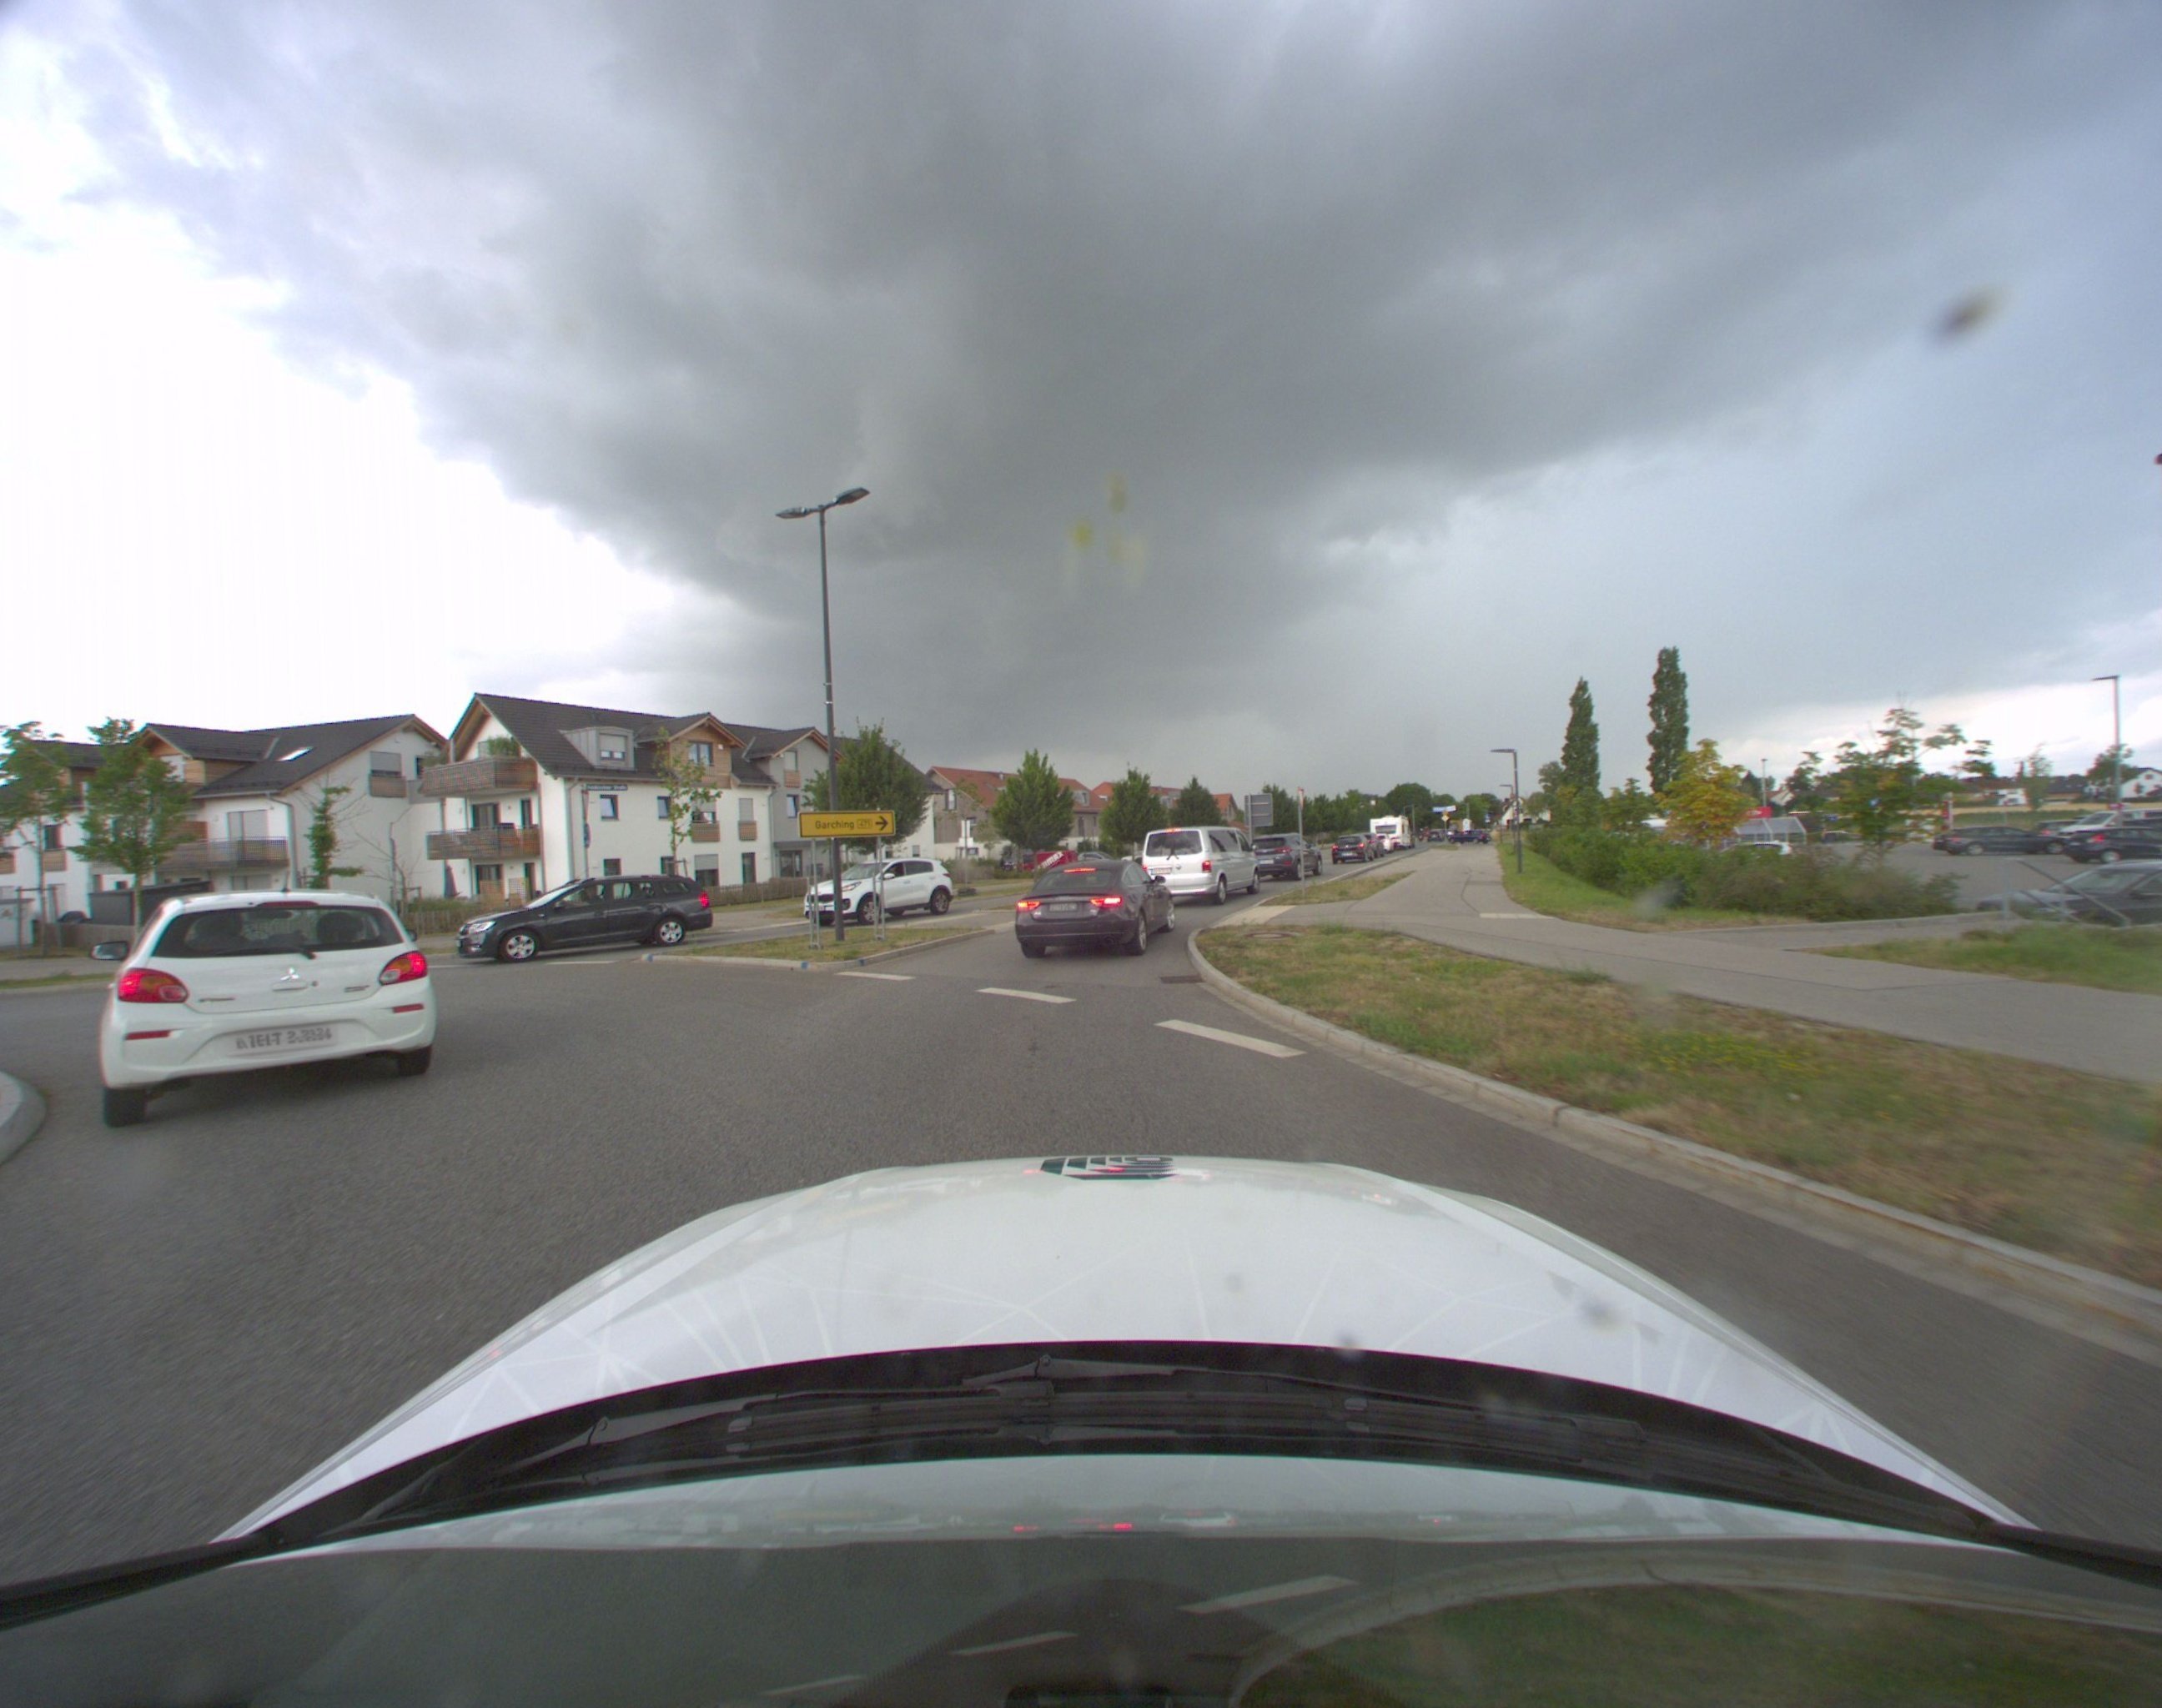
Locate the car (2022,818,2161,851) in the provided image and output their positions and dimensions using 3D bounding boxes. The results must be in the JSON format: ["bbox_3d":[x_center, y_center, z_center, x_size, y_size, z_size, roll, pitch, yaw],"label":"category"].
[{"bbox_3d":[53.758,-1.016,43.435,4.271,1.578,1.778,-2,0,29],"label":"car"}]

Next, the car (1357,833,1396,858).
[{"bbox_3d":[20.511,-0.579,56.429,1.975,1.596,4.025,-2,0,28],"label":"car"}]

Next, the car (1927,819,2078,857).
[{"bbox_3d":[45.652,-0.780,40.505,4.514,1.664,2.012,-2,1,27],"label":"car"}]

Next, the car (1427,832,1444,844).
[{"bbox_3d":[45.850,-2.080,105.195,1.828,1.436,4.024,-1,1,26],"label":"car"}]

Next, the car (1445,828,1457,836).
[{"bbox_3d":[66.433,-3.993,146.240,1.828,1.436,4.024,-1,1,26],"label":"car"}]

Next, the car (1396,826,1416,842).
[{"bbox_3d":[42.422,-2.593,106.331,1.975,2.013,4.025,-1,1,28],"label":"car"}]

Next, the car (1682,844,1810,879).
[{"bbox_3d":[30.354,0.361,37.326,4.193,1.440,2.012,-2,0,27],"label":"car"}]

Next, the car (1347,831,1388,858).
[{"bbox_3d":[16.860,-0.550,47.837,1.760,1.434,3.825,-3,0,26],"label":"car"}]

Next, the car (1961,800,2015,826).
[{"bbox_3d":[74.073,-3.305,66.598,1.974,2.013,4.026,1,2,33],"label":"car"}]

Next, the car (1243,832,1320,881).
[{"bbox_3d":[7.270,0.063,29.278,1.760,1.618,4.024,-2,0,27],"label":"car"}]

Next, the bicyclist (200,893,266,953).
[{"bbox_3d":[-22.204,1.786,21.338,0.865,1.446,0.723,-3,0,-7],"label":"bicyclist"}]

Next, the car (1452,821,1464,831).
[{"bbox_3d":[88.908,-6.525,191.898,1.974,2.211,4.026,-2,1,31],"label":"car"}]

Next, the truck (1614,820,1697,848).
[{"bbox_3d":[42.990,-1.487,61.035,4.754,1.872,2.011,-1,0,23],"label":"truck"}]

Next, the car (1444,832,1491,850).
[{"bbox_3d":[39.591,-1.325,83.458,1.627,1.794,3.952,-2,0,-41],"label":"car"}]

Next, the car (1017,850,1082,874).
[{"bbox_3d":[-2.393,0.582,61.809,4.487,1.680,2.013,-2,0,30],"label":"car"}]

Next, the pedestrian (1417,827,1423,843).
[{"bbox_3d":[42.269,-2.417,101.477,0.573,2.013,0.685,1,2,33],"label":"pedestrian"}]

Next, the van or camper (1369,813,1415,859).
[{"bbox_3d":[24.679,-1.384,64.420,2.600,3.323,6.862,-2,0,27],"label":"van or camper"}]

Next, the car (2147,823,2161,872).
[{"bbox_3d":[39.207,-0.241,26.950,4.409,1.706,1.814,-1,1,27],"label":"car"}]

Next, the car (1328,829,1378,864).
[{"bbox_3d":[13.887,-0.394,41.413,1.760,1.618,4.024,-3,0,27],"label":"car"}]

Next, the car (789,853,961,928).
[{"bbox_3d":[-5.346,0.899,21.777,1.692,1.626,4.479,-3,0,31],"label":"car"}]

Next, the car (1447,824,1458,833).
[{"bbox_3d":[76.127,-5.284,167.057,1.975,1.837,4.024,-1,1,25],"label":"car"}]

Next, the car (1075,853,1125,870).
[{"bbox_3d":[1.621,0.630,69.437,3.879,1.315,1.853,-2,0,25],"label":"car"}]

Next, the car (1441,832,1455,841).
[{"bbox_3d":[57.632,-2.718,127.908,1.828,1.436,4.024,-1,1,26],"label":"car"}]

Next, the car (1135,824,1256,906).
[{"bbox_3d":[3.093,0.251,21.260,1.850,1.934,4.024,-2,0,27],"label":"car"}]

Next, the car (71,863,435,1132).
[{"bbox_3d":[-6.378,0.919,6.580,1.642,1.519,3.359,-2,-2,-41],"label":"car"}]

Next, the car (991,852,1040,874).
[{"bbox_3d":[-5.723,0.744,71.875,1.974,1.772,4.494,-2,0,32],"label":"car"}]

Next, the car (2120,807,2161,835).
[{"bbox_3d":[72.943,-2.211,54.366,3.949,1.837,2.013,1,2,31],"label":"car"}]

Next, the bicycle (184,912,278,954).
[{"bbox_3d":[-22.208,2.060,21.305,1.707,0.946,0.496,-3,0,-9],"label":"bicycle"}]

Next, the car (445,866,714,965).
[{"bbox_3d":[-10.046,1.154,16.577,1.751,1.564,4.305,-4,-1,43],"label":"car"}]

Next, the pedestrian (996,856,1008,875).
[{"bbox_3d":[-6.521,0.957,67.111,0.651,1.558,0.587,-2,1,29],"label":"pedestrian"}]

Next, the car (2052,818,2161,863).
[{"bbox_3d":[42.276,-0.555,32.306,4.362,1.664,2.012,-2,1,27],"label":"car"}]

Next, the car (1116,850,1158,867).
[{"bbox_3d":[5.377,0.398,78.180,3.696,1.482,1.696,-2,1,24],"label":"car"}]

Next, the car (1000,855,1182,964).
[{"bbox_3d":[0.347,0.761,13.041,1.770,1.391,4.151,-2,0,17],"label":"car"}]

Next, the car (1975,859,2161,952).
[{"bbox_3d":[19.905,0.925,15.200,3.955,1.607,1.799,-1,0,18],"label":"car"}]

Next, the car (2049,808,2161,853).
[{"bbox_3d":[52.831,-1.218,40.949,5.068,2.013,2.009,-2,1,16],"label":"car"}]
